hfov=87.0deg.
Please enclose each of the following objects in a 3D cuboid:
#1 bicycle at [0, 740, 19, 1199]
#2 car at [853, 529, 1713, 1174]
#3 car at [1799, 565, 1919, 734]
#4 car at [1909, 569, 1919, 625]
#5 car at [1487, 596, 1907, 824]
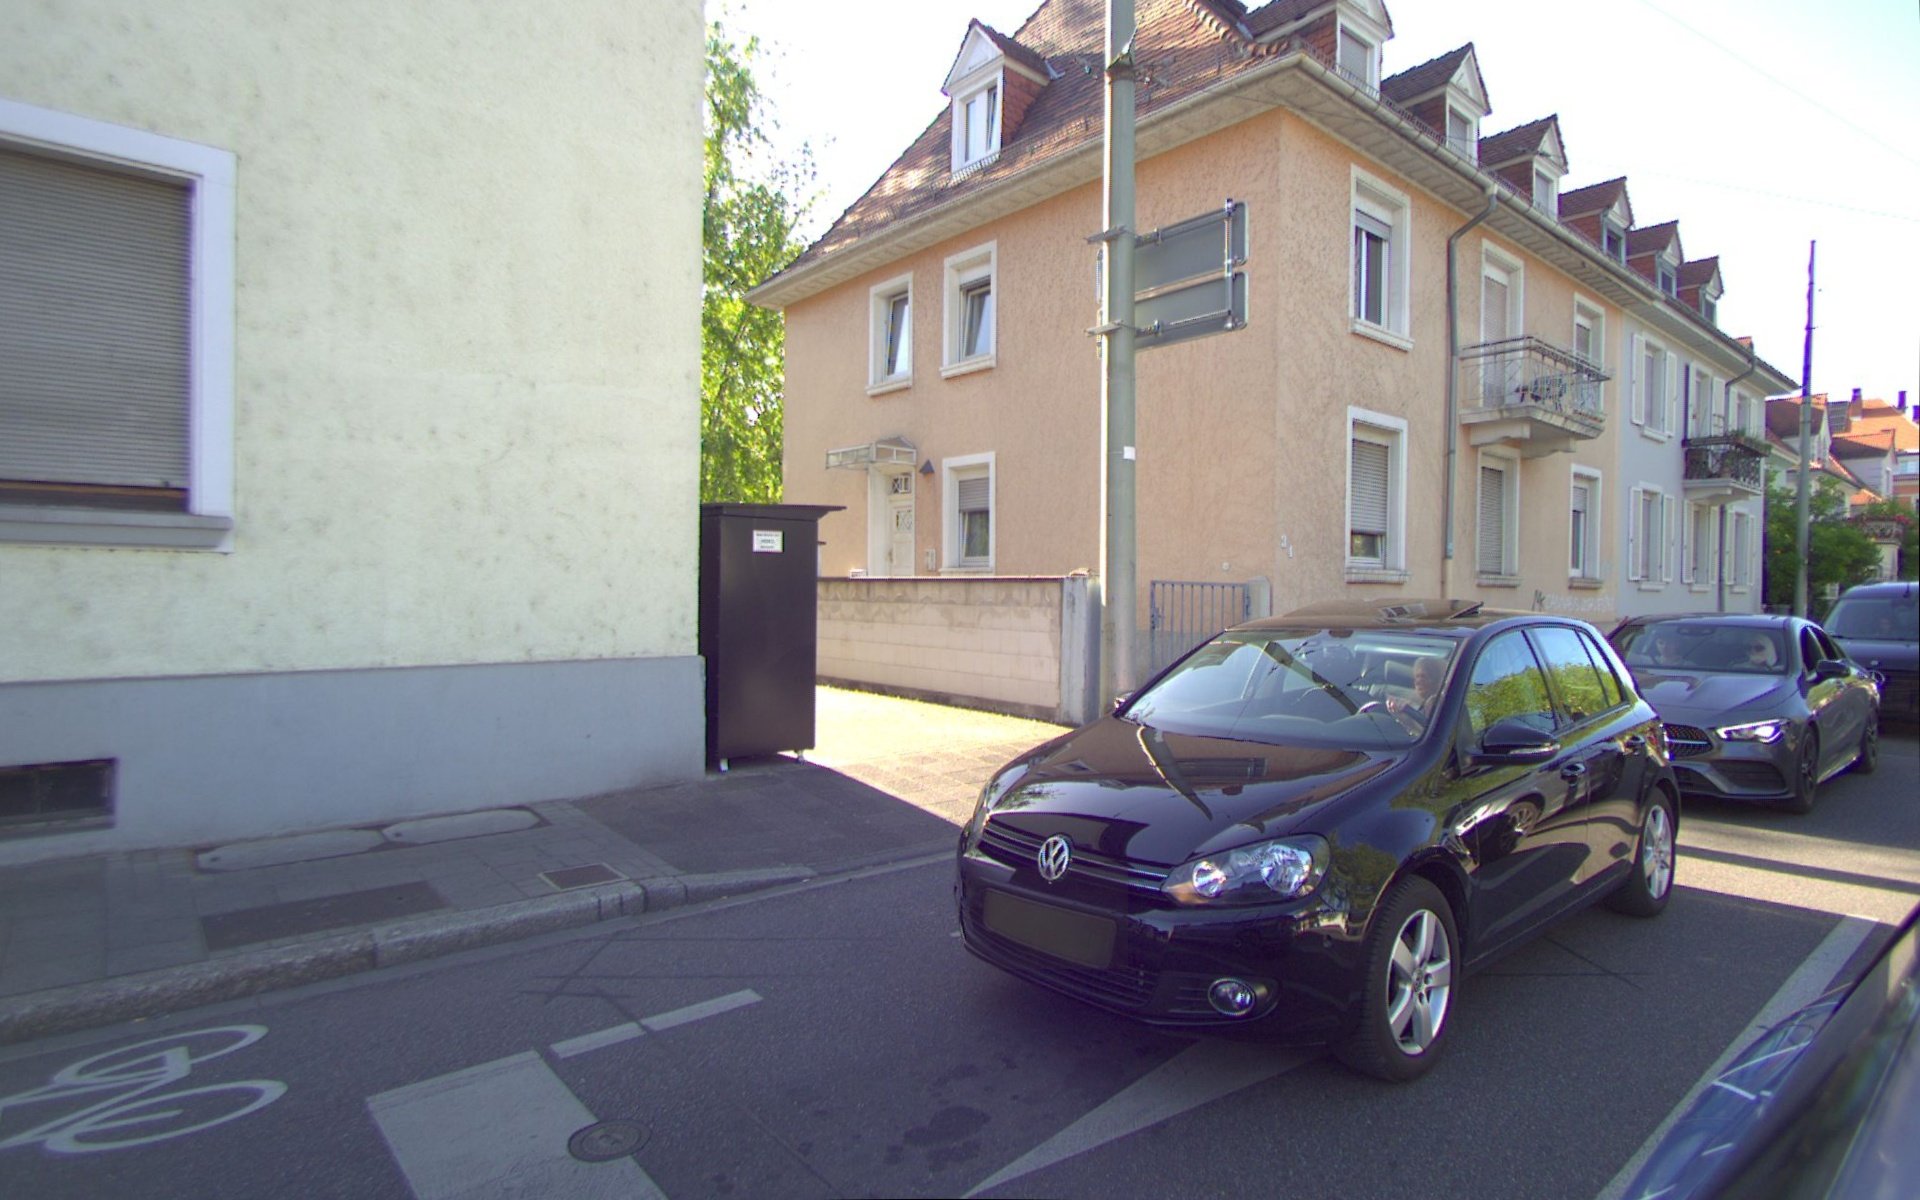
[{"bbox_3d":[-2.953,0.908,1.854,1.749,1.044,0.756,-1,0,-40],"label":"bicycle"},{"bbox_3d":[1.679,0.640,4.380,3.979,1.527,1.731,2,-1,-41],"label":"car"},{"bbox_3d":[12.066,0.511,12.514,4.695,1.827,1.864,-1,0,-41],"label":"car"},{"bbox_3d":[27.435,-0.094,27.623,3.930,1.476,1.839,-1,0,-41],"label":"car"},{"bbox_3d":[6.482,0.703,8.711,4.413,1.437,1.911,-1,1,-40],"label":"car"}]
